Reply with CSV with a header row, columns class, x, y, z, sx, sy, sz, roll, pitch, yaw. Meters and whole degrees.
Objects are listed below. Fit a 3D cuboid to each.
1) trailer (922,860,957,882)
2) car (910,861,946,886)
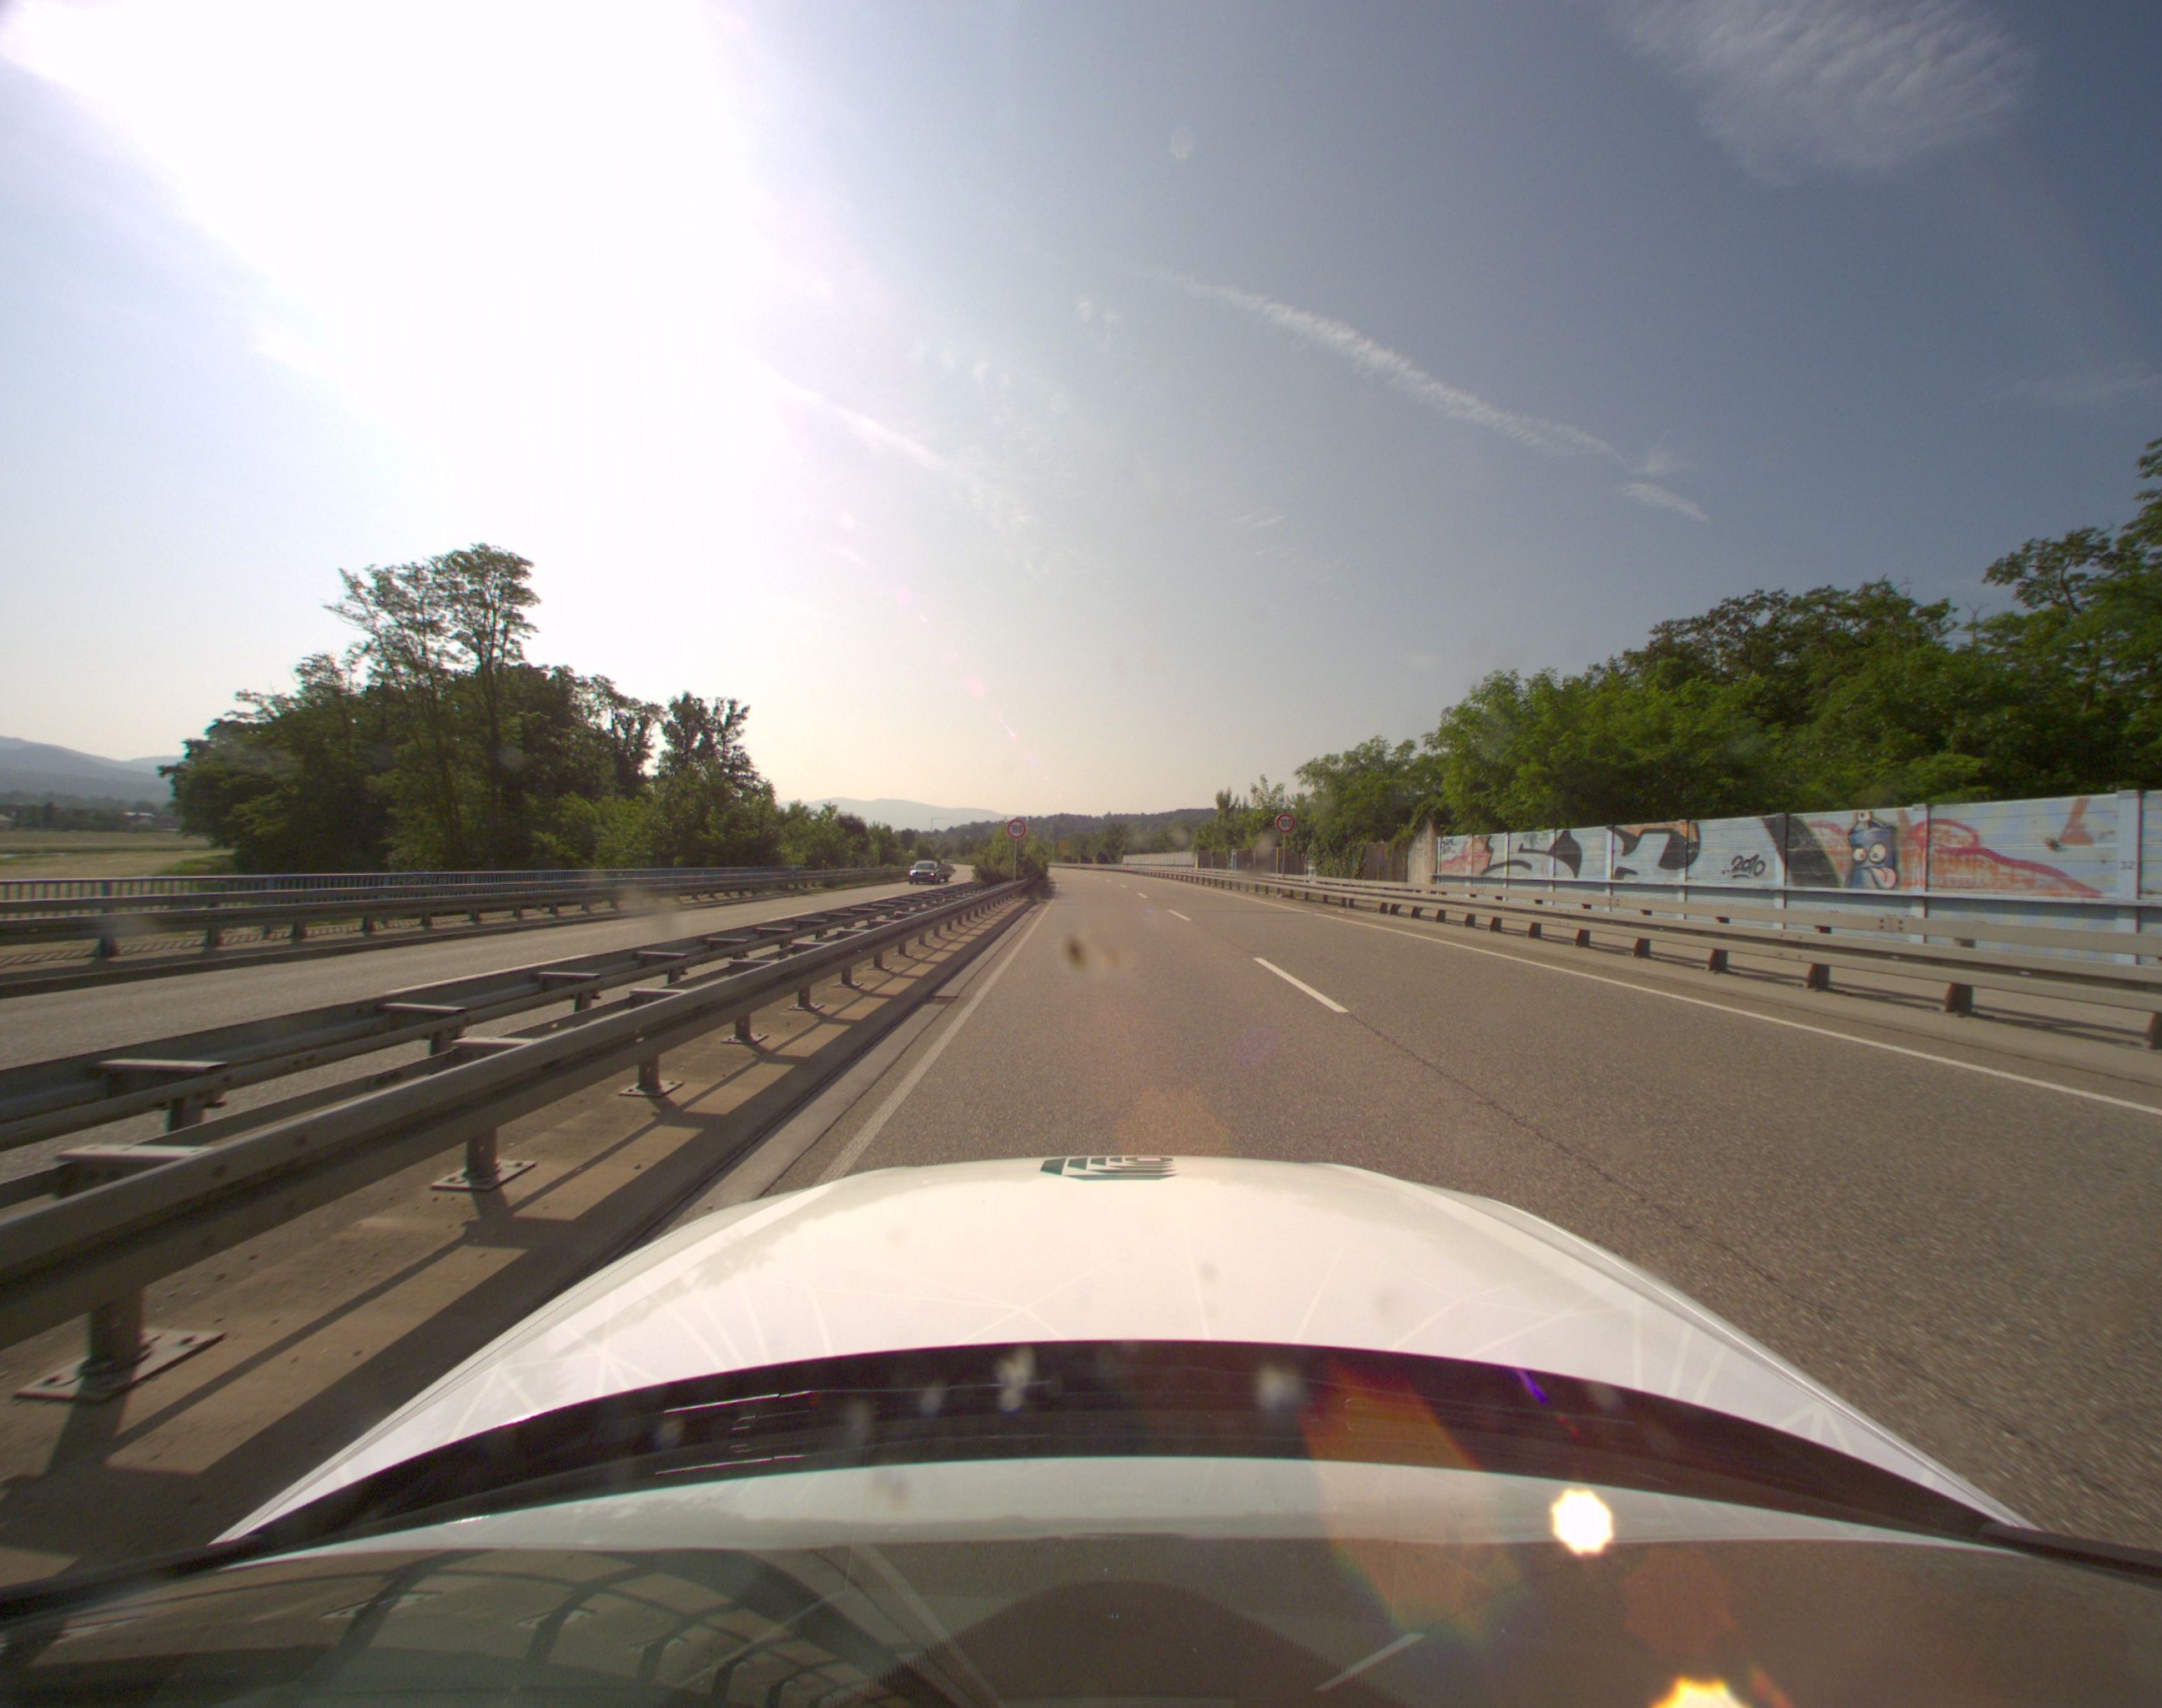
class,x,y,z,sx,sy,sz,roll,pitch,yaw
trailer,-10.613,1.270,61.372,1.712,1.578,4.811,1,0,0
car,-10.670,1.344,56.956,1.718,1.596,3.999,1,0,0
